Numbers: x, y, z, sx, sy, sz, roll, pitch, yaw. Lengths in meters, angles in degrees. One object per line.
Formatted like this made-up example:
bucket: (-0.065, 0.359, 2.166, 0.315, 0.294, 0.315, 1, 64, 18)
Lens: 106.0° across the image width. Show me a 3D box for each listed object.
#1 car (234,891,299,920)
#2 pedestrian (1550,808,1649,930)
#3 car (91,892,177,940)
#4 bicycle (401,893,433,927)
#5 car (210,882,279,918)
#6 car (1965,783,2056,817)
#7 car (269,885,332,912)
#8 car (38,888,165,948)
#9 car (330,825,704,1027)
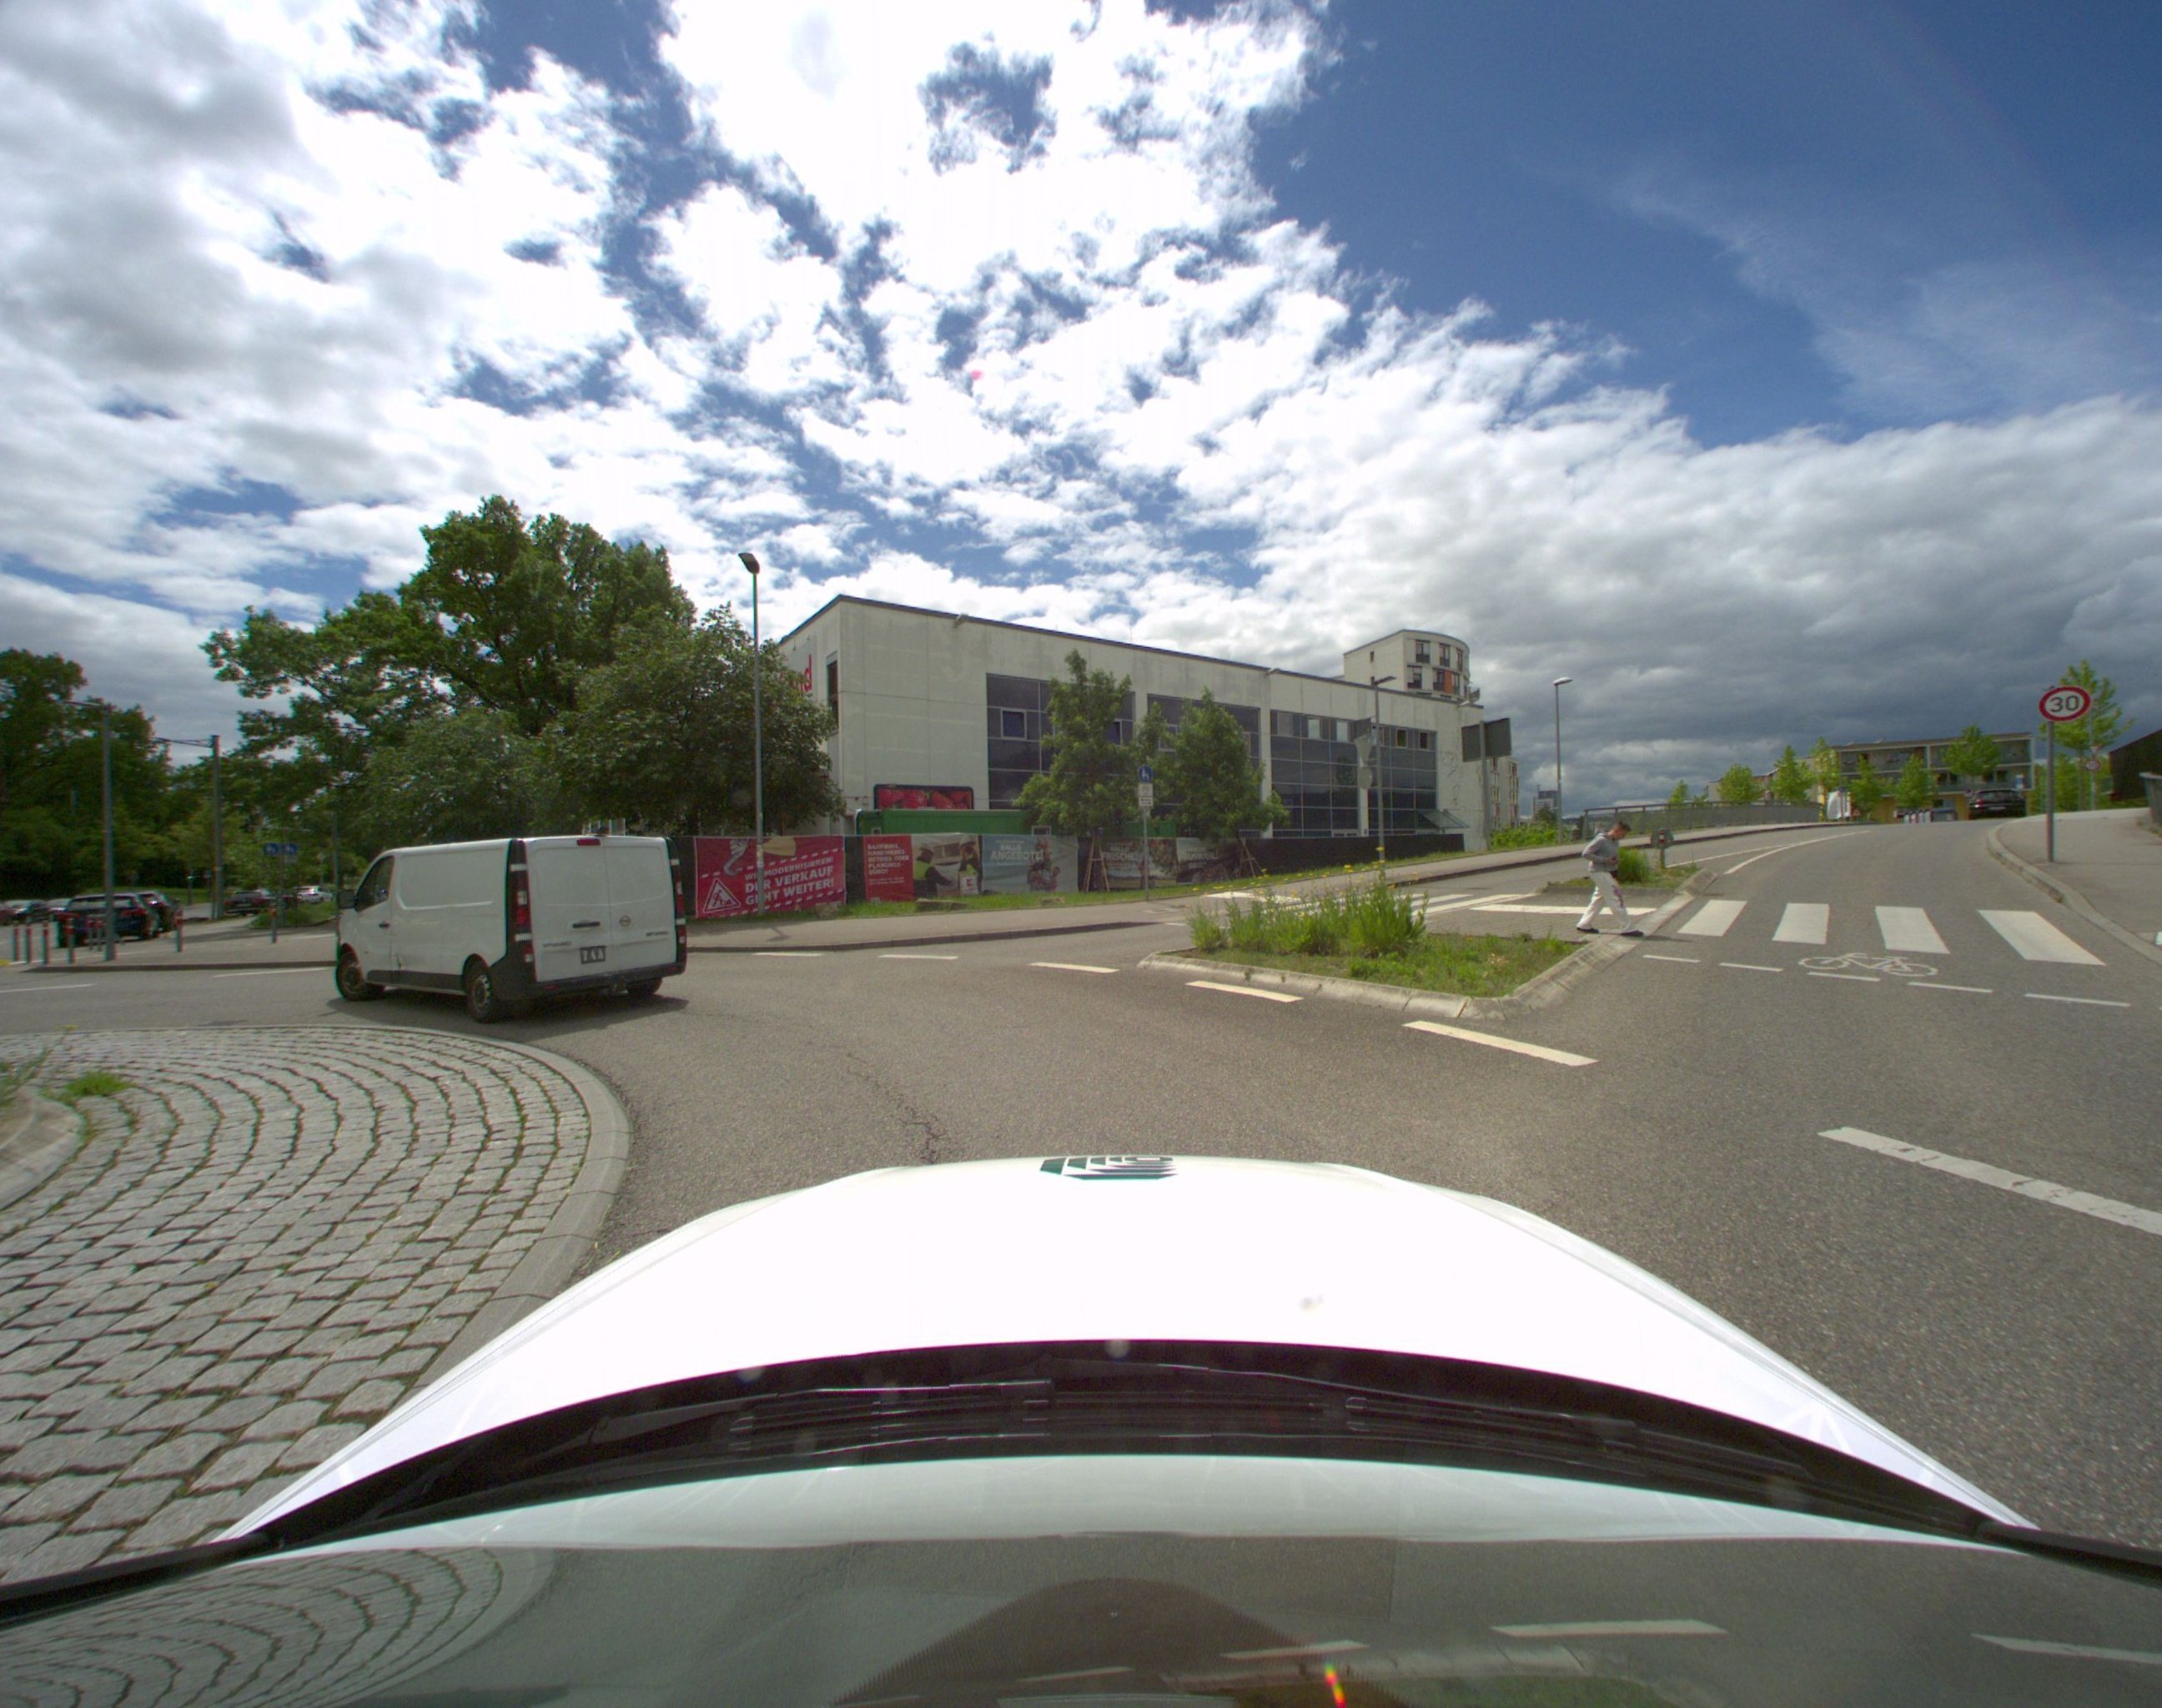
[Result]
car: (-50.164, 3.160, 50.257, 2.078, 1.476, 3.883, -1, 1, -34)
pedestrian: (6.872, 0.194, 10.856, 1.024, 1.541, 0.900, 0, -1, 27)
car: (-36.073, 2.302, 31.115, 3.875, 1.500, 1.937, 0, 1, 43)
bicycle: (-24.181, 2.027, 29.690, 0.634, 1.127, 1.949, 0, -1, -31)
car: (-46.865, 2.550, 45.707, 1.911, 1.744, 3.883, -1, 1, -34)
car: (46.914, -2.697, 41.102, 4.004, 1.453, 1.898, 0, -1, -24)
car: (-52.450, 2.966, 54.802, 2.075, 1.500, 3.888, -1, 1, -29)
car: (-30.732, 1.933, 25.683, 1.949, 1.537, 3.878, -2, 1, -41)
car: (-7.056, 0.714, 10.039, 4.929, 1.945, 2.054, 0, -1, 33)
